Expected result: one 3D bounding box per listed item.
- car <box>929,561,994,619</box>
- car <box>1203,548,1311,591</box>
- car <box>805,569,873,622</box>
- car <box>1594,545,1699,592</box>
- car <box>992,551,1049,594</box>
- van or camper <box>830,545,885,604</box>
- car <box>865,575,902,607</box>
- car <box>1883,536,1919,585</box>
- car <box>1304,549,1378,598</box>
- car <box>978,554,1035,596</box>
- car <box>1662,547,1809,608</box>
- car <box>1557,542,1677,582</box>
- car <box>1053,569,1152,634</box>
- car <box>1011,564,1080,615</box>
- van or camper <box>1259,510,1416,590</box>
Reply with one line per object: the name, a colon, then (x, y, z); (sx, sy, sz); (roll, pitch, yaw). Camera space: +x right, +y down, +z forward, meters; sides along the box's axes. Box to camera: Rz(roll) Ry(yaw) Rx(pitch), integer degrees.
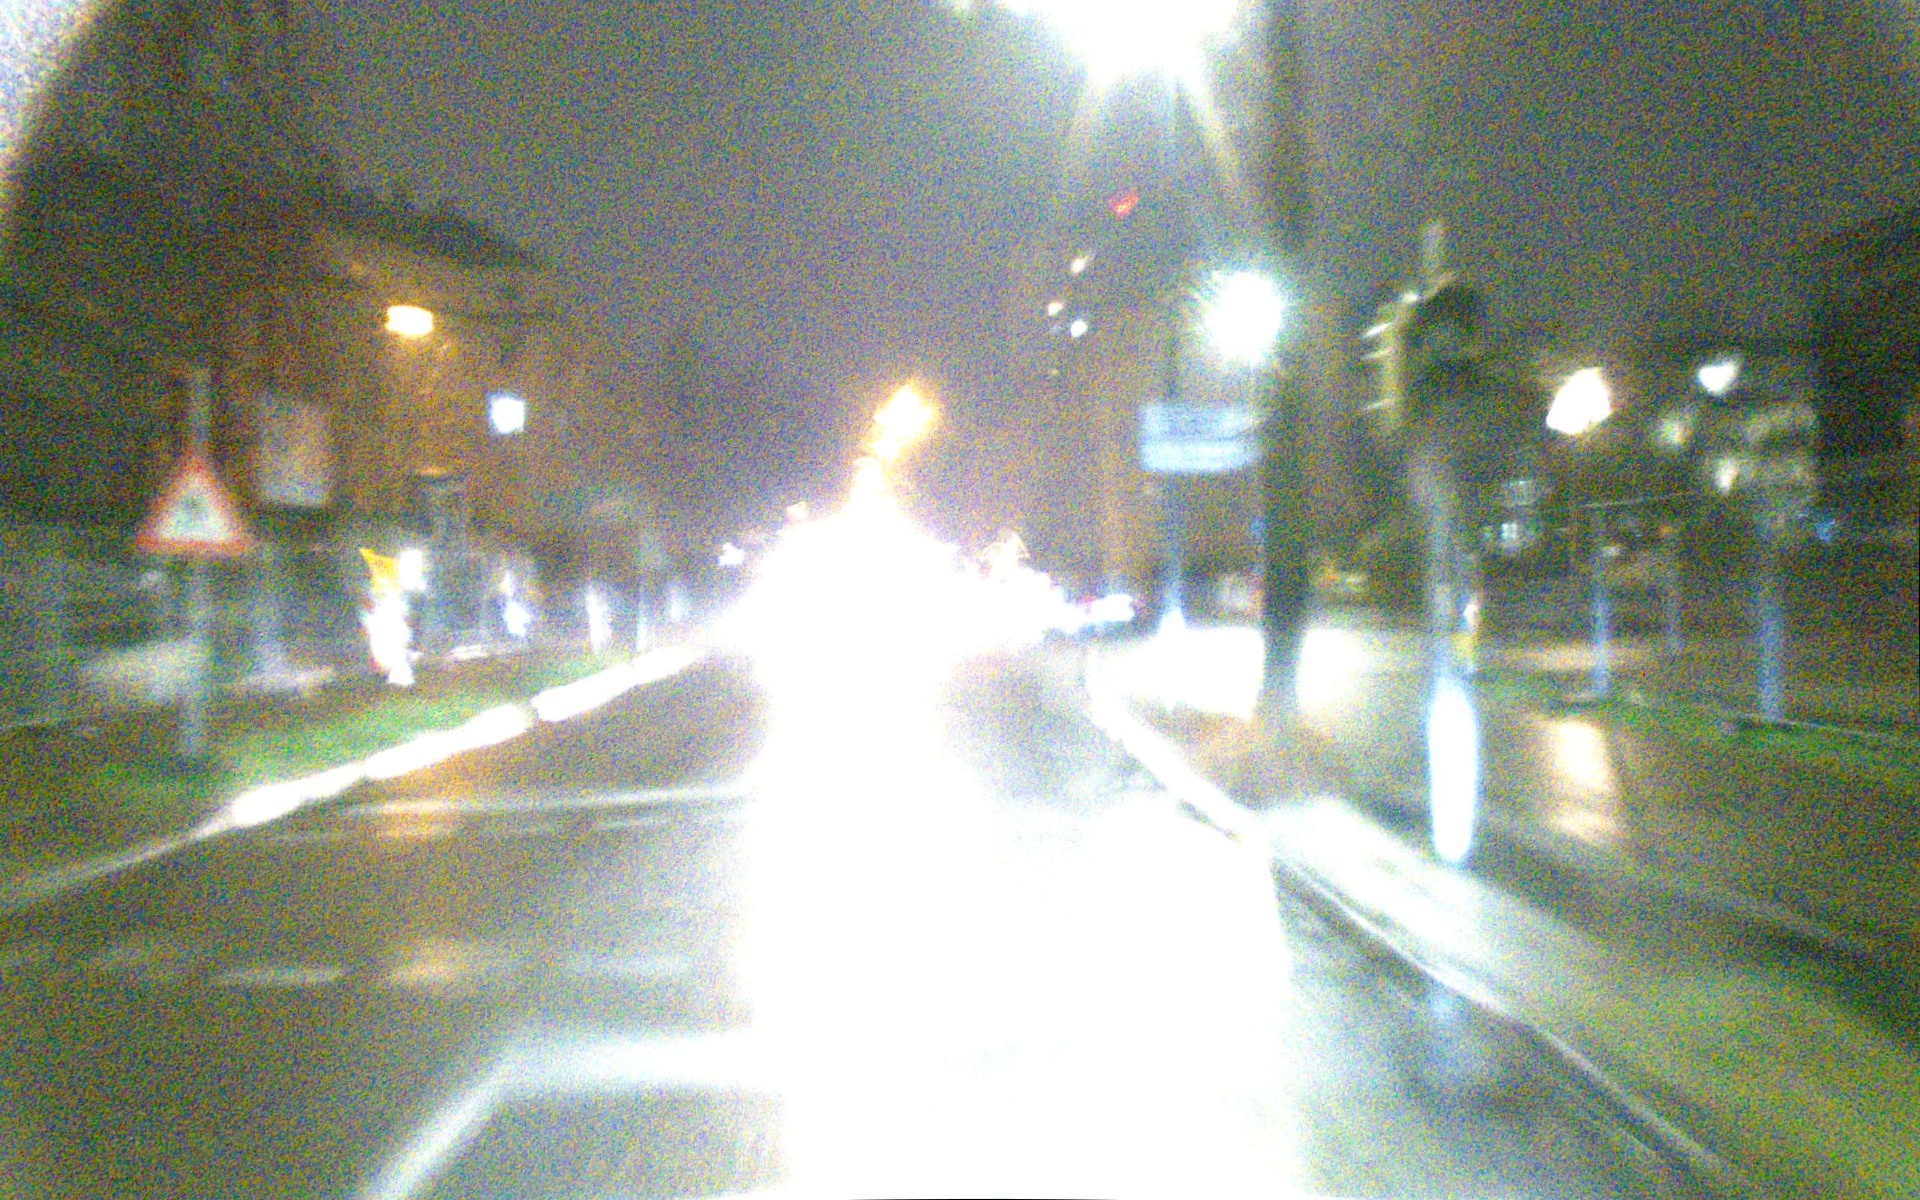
car: (0.002, -0.360, 54.088); (1.953, 1.713, 4.000); (-1, 3, -2)
car: (11.741, -1.203, 65.466); (3.908, 1.547, 1.684); (-2, 1, -4)
car: (-3.655, -0.182, 50.485); (1.709, 1.458, 4.000); (-3, 1, 0)
car: (22.412, -1.031, 54.165); (1.644, 1.438, 4.261); (-2, 1, 0)
car: (2.367, -1.111, 65.583); (1.720, 1.555, 4.150); (-4, 2, -4)
van or camper: (-3.904, -0.989, 63.520); (1.832, 2.140, 4.942); (-2, 1, -1)
car: (-3.777, -0.477, 81.728); (1.760, 1.486, 4.576); (1, 1, -3)
car: (37.224, -1.548, 62.331); (3.906, 1.811, 1.706); (-2, 1, -1)
car: (12.424, -0.877, 54.140); (1.531, 1.495, 3.407); (-2, 1, -2)
car: (1.955, -1.094, 70.611); (1.845, 1.599, 4.523); (-4, 2, -5)
car: (20.014, -0.583, 42.885); (1.789, 1.493, 4.258); (0, 1, -1)
car: (25.160, -1.469, 63.387); (3.909, 1.377, 1.680); (-2, 1, -4)
car: (3.612, -0.008, 42.815); (1.754, 1.474, 4.787); (-3, 1, -4)
car: (2.732, -0.358, 53.777); (1.679, 1.514, 4.433); (-2, 1, -4)
van or camper: (13.161, -1.746, 57.929); (4.959, 2.571, 2.171); (-2, 1, 0)
